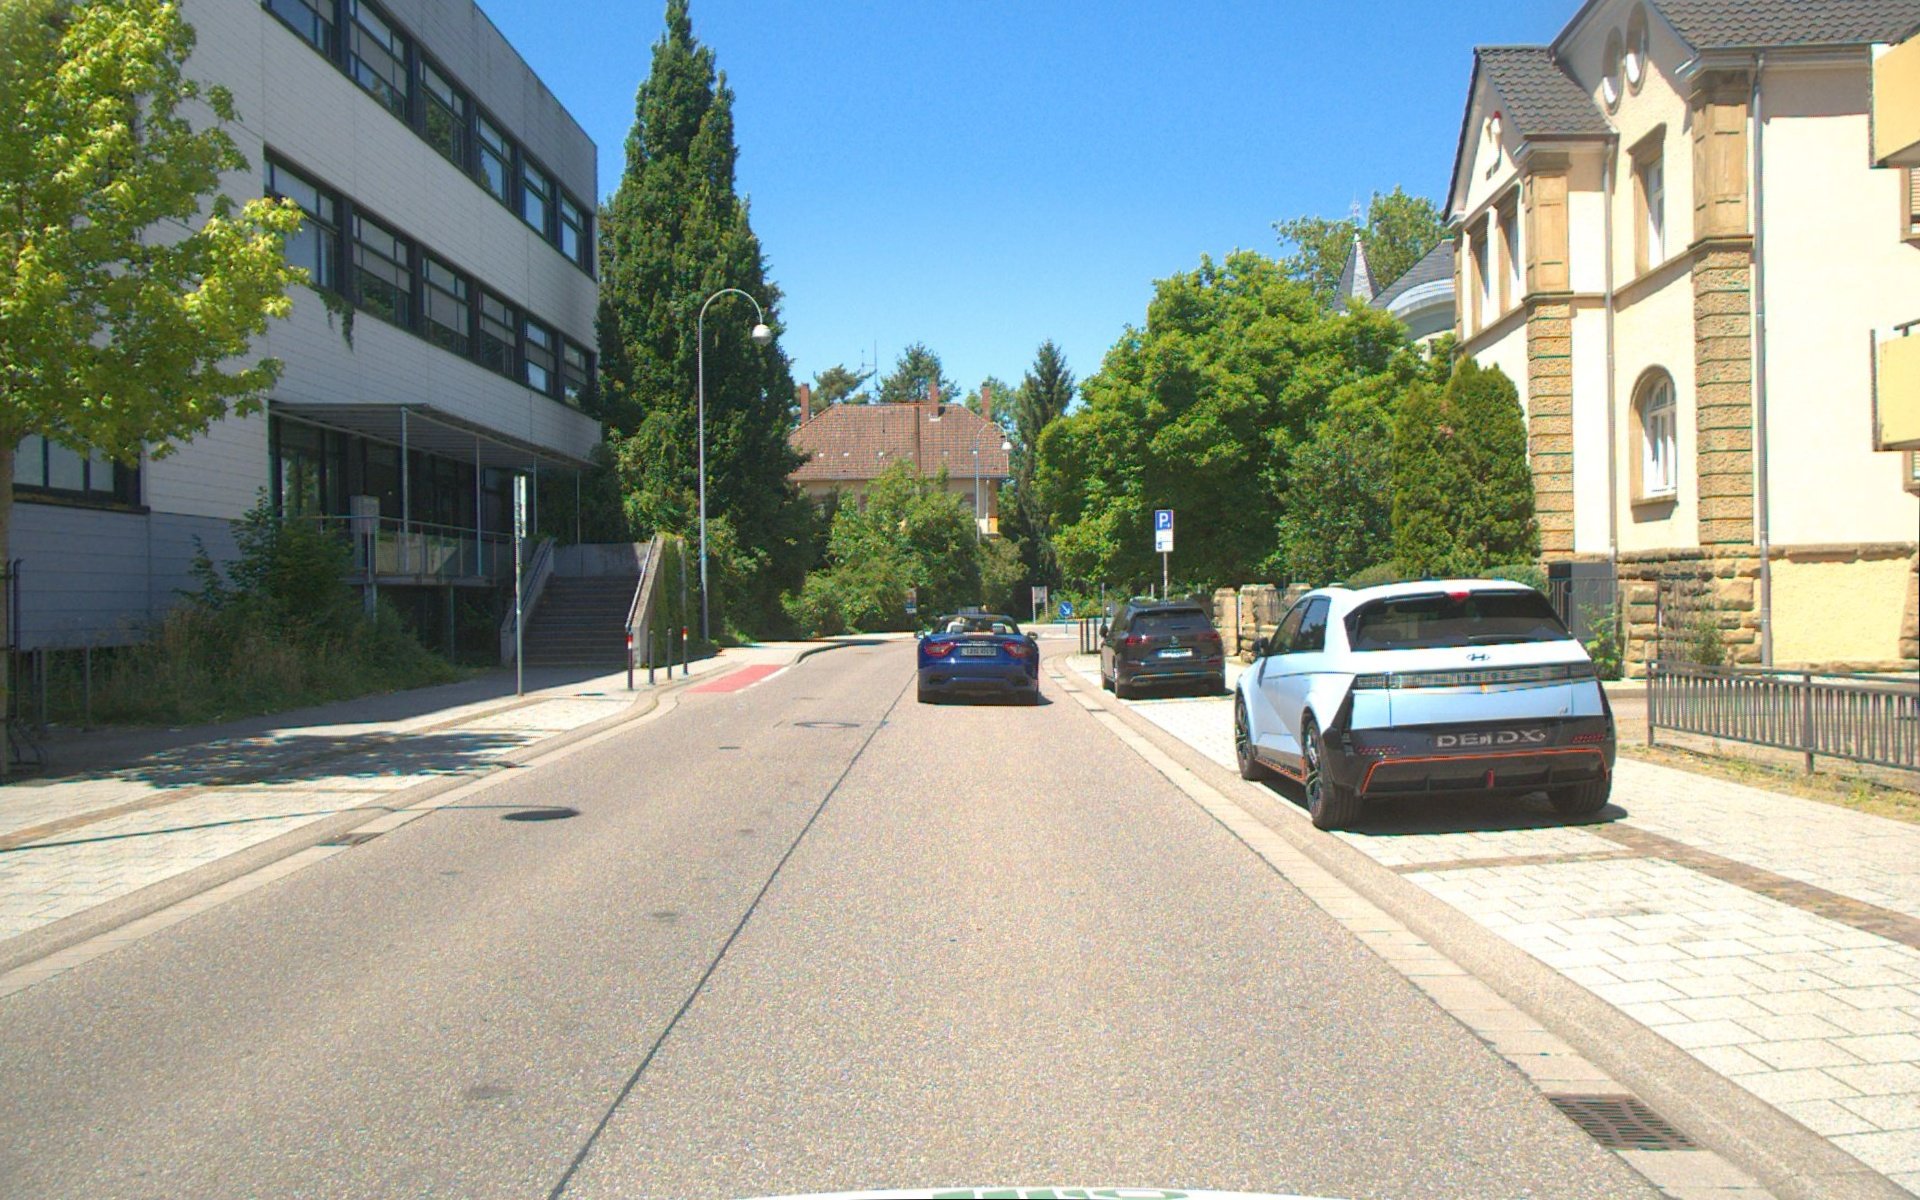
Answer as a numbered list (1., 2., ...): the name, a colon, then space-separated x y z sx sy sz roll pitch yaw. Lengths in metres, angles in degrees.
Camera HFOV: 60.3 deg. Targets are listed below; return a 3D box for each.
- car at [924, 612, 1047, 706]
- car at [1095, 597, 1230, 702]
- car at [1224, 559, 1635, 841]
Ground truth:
1. car: 0.383 0.880 26.579 1.789 1.360 4.700 1 0 0
2. car: 3.211 0.739 26.974 1.598 1.471 4.397 -4 0 0
3. car: 3.243 0.614 12.406 1.806 1.647 4.427 -3 0 1
